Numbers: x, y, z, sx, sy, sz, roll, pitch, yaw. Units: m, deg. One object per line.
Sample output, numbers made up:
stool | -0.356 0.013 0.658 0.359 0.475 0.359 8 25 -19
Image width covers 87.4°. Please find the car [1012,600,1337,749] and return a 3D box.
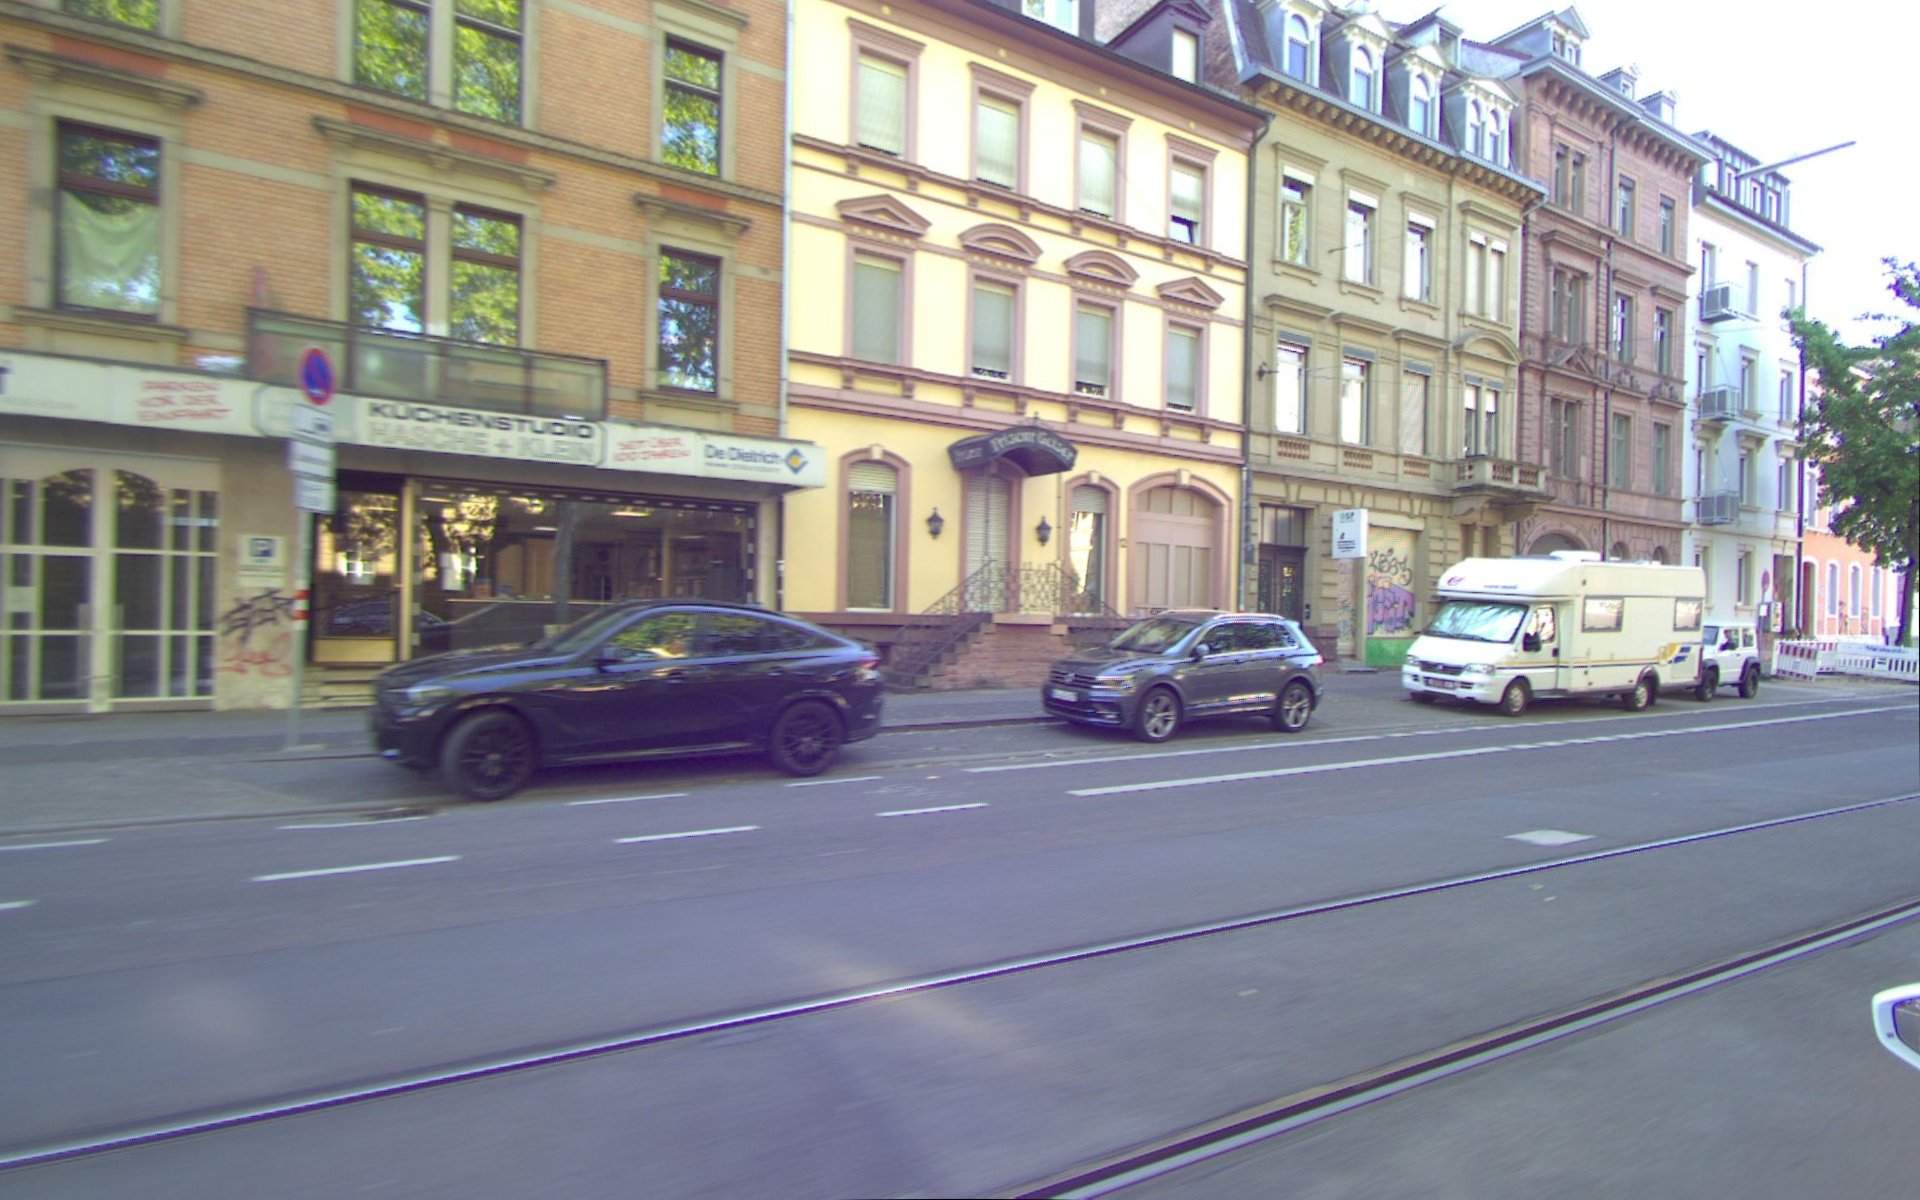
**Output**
car | 3.121 0.958 14.345 4.422 1.805 1.953 1 0 -32

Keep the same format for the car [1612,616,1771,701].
car | 16.607 1.281 22.774 3.743 1.749 1.632 1 0 -32

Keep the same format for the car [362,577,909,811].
car | -3.134 0.777 10.101 4.884 1.805 1.953 1 2 -33

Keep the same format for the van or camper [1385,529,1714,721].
van or camper | 11.516 0.478 19.400 7.028 3.182 2.206 1 0 -30
